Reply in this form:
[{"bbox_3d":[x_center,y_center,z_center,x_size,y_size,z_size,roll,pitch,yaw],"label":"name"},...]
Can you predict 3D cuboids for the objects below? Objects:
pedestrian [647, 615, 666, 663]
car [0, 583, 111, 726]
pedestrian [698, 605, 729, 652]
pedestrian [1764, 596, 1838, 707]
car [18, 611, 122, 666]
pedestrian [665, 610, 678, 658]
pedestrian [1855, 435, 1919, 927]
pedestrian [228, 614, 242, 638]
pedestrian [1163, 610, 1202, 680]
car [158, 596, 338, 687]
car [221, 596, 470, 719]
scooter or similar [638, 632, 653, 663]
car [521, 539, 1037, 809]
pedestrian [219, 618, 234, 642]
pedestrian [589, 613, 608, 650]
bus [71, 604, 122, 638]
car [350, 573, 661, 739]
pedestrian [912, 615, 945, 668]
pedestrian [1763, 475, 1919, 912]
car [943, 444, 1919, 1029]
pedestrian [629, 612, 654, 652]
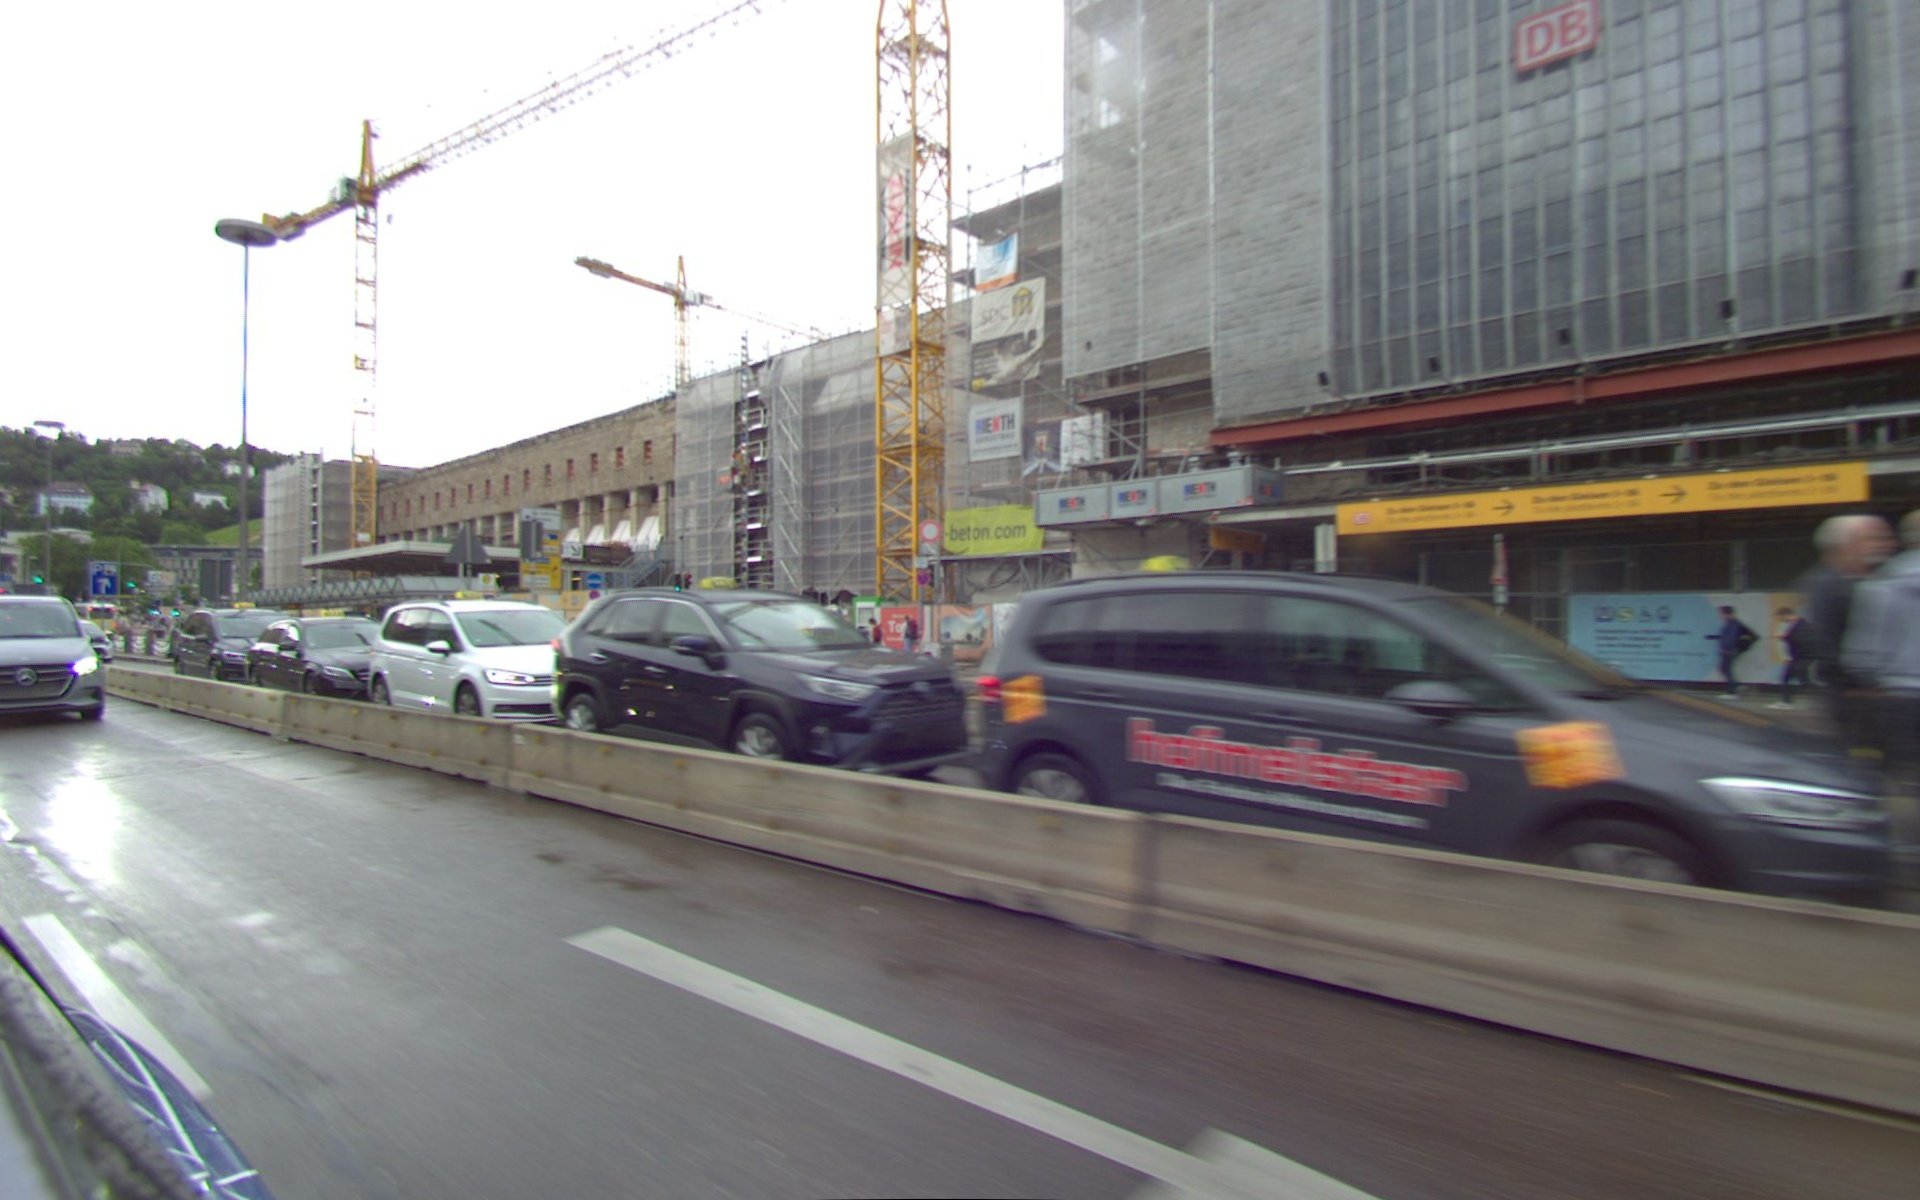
[{"bbox_3d":[-11.970,1.526,39.872,0.692,1.855,0.880,0,-1,-19],"label":"pedestrian"},{"bbox_3d":[-14.812,0.766,15.479,5.247,1.918,1.973,-1,0,41],"label":"car"},{"bbox_3d":[-9.975,1.148,40.954,0.829,1.855,1.059,0,-1,-44],"label":"pedestrian"},{"bbox_3d":[14.571,0.873,17.529,0.936,1.855,0.810,-1,-2,42],"label":"pedestrian"},{"bbox_3d":[-29.969,1.241,34.048,4.830,1.719,1.973,-1,-2,41],"label":"car"},{"bbox_3d":[-11.285,1.327,39.582,0.334,1.855,0.511,0,-1,-32],"label":"pedestrian"},{"bbox_3d":[4.348,0.328,4.196,0.890,2.029,0.522,-1,-2,40],"label":"pedestrian"},{"bbox_3d":[-54.145,1.952,75.598,0.765,1.804,0.862,0,-1,-40],"label":"pedestrian"},{"bbox_3d":[6.034,1.198,27.410,0.831,1.855,0.766,-1,-1,28],"label":"pedestrian"},{"bbox_3d":[-14.797,0.812,20.943,4.639,1.666,1.973,-1,-2,41],"label":"car"},{"bbox_3d":[-10.228,0.859,16.671,5.052,1.724,2.028,-1,-2,41],"label":"car"},{"bbox_3d":[-11.708,1.760,37.685,0.452,1.074,1.243,0,-1,-13],"label":"scooter or similar"},{"bbox_3d":[-1.836,0.540,9.100,4.845,1.800,1.973,-1,-2,41],"label":"car"},{"bbox_3d":[-55.965,2.271,77.194,0.746,1.804,0.717,-1,-1,37],"label":"pedestrian"},{"bbox_3d":[-18.217,1.599,51.041,0.713,1.855,0.612,0,-1,-44],"label":"pedestrian"},{"bbox_3d":[-97.672,2.379,114.315,2.876,3.605,19.088,2,-2,-45],"label":"bus"},{"bbox_3d":[-6.039,0.653,13.223,4.451,1.800,1.973,-1,-2,40],"label":"car"},{"bbox_3d":[-1.005,1.308,32.133,0.839,1.626,0.668,-1,-1,45],"label":"pedestrian"},{"bbox_3d":[4.561,0.438,5.028,0.836,2.029,0.615,-2,-2,41],"label":"pedestrian"},{"bbox_3d":[2.169,0.483,5.307,4.608,1.906,1.695,-1,-2,42],"label":"car"},{"bbox_3d":[-14.974,1.510,47.606,0.793,1.855,0.869,0,-1,-44],"label":"pedestrian"}]
